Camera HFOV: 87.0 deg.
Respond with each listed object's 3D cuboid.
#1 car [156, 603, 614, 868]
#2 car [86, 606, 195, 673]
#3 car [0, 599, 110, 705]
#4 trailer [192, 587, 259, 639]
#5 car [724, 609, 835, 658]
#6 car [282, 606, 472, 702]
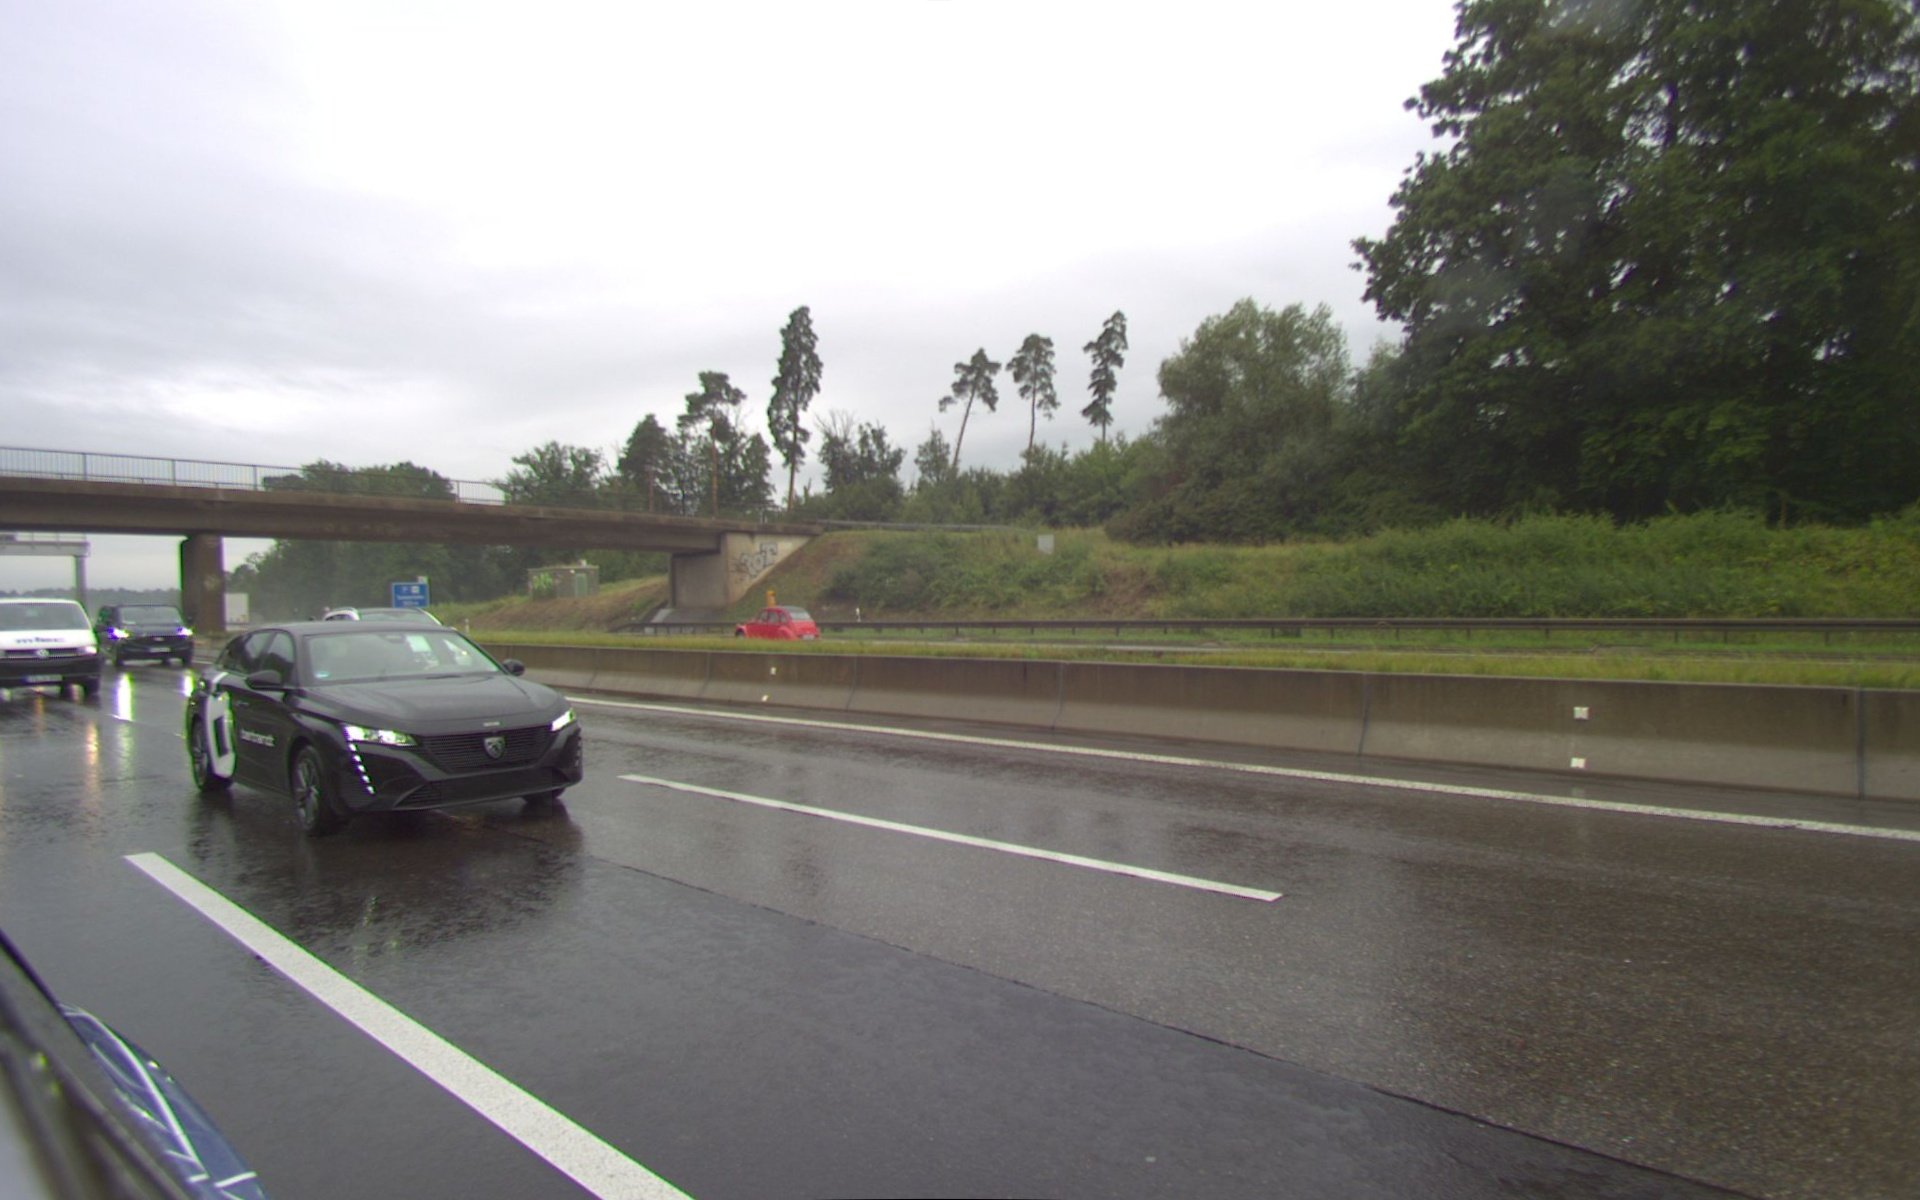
[{"bbox_3d":[-4.764,0.834,8.066,4.464,1.516,1.826,-2,-1,42],"label":"car"},{"bbox_3d":[-26.687,1.228,32.884,5.241,1.958,1.970,-1,0,42],"label":"car"},{"bbox_3d":[-18.732,0.991,20.249,4.765,1.894,1.969,-2,-1,42],"label":"car"},{"bbox_3d":[-73.143,1.367,100.586,13.350,4.850,3.170,-2,-1,44],"label":"trailer"},{"bbox_3d":[-6.449,1.165,35.971,3.943,1.603,1.826,-2,-1,41],"label":"car"},{"bbox_3d":[-11.260,0.972,19.409,4.464,1.603,1.826,-2,-1,42],"label":"car"}]
